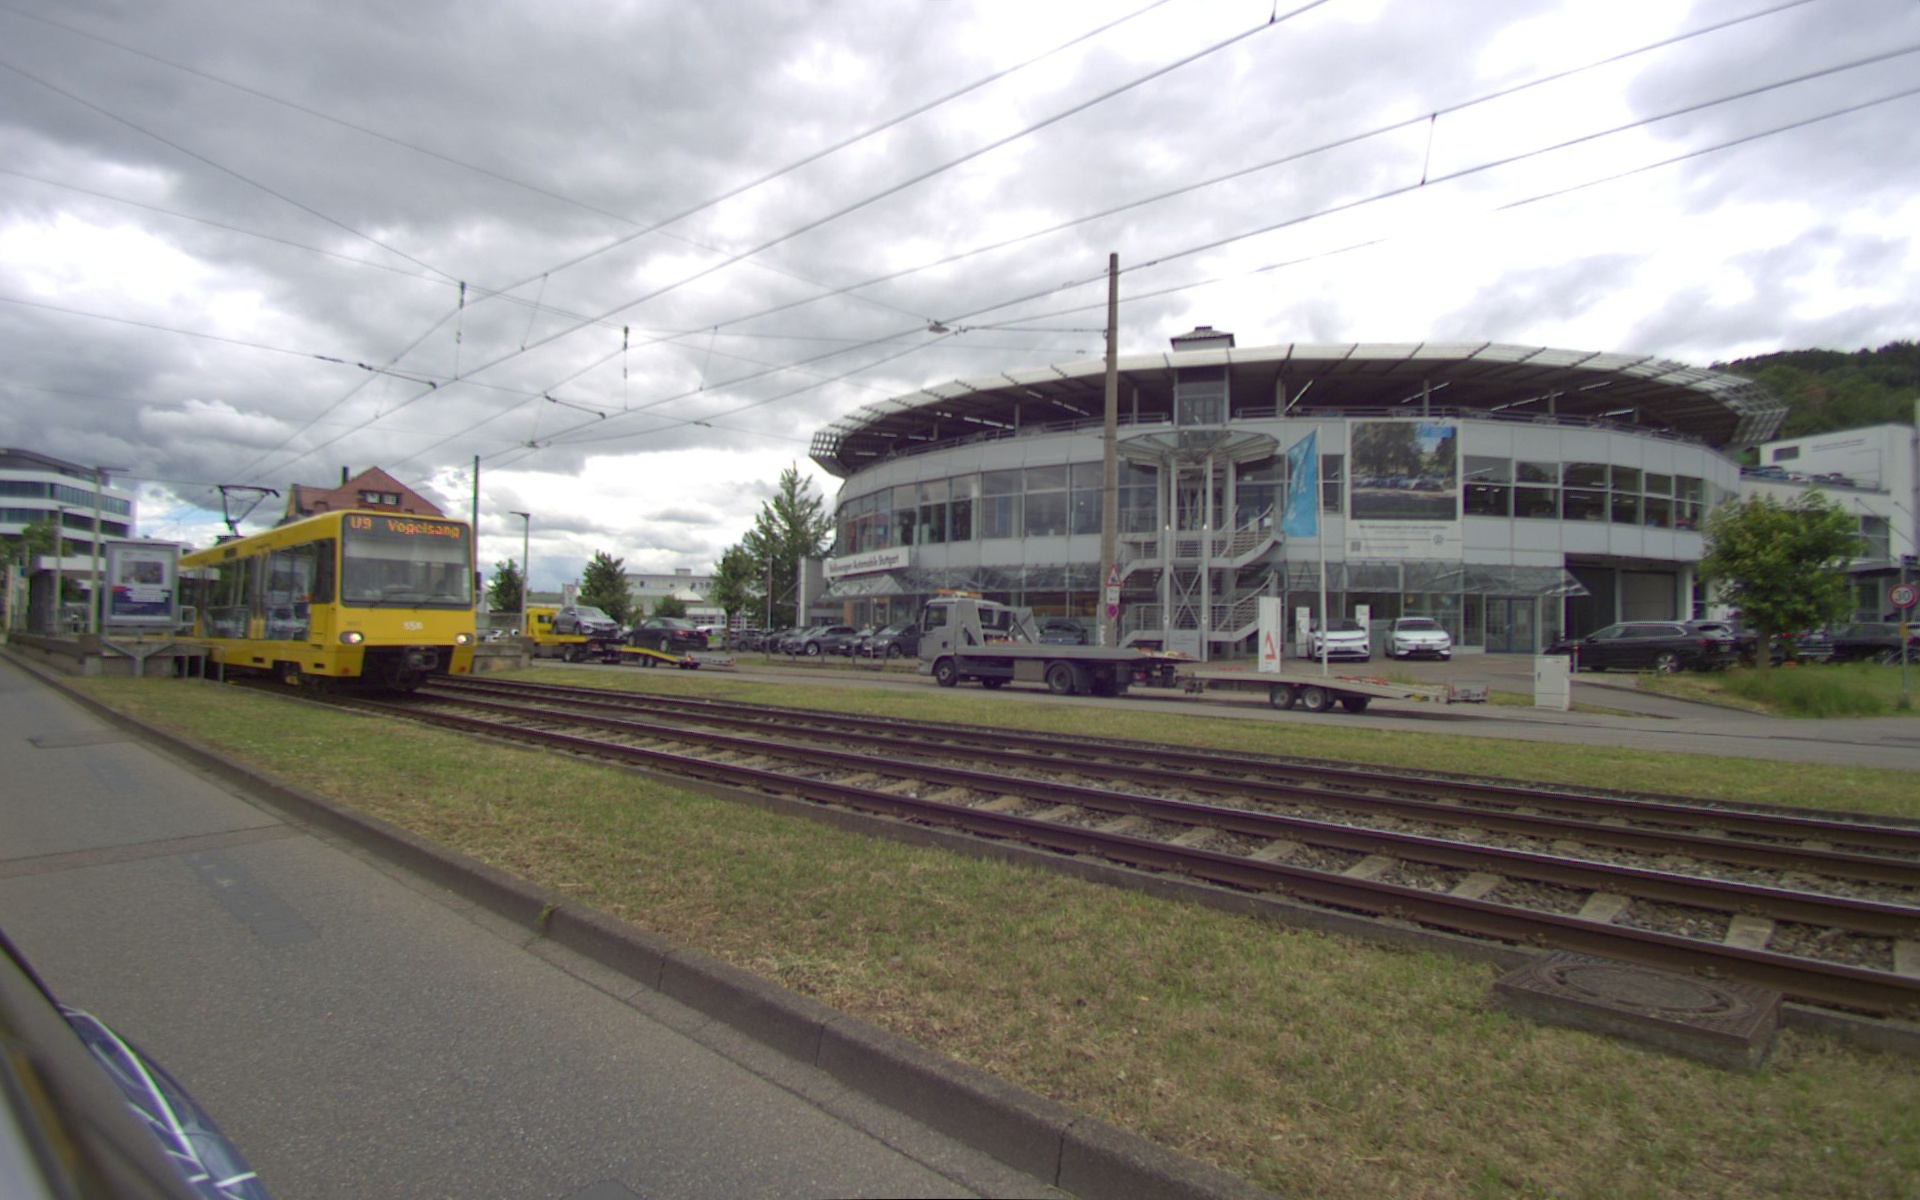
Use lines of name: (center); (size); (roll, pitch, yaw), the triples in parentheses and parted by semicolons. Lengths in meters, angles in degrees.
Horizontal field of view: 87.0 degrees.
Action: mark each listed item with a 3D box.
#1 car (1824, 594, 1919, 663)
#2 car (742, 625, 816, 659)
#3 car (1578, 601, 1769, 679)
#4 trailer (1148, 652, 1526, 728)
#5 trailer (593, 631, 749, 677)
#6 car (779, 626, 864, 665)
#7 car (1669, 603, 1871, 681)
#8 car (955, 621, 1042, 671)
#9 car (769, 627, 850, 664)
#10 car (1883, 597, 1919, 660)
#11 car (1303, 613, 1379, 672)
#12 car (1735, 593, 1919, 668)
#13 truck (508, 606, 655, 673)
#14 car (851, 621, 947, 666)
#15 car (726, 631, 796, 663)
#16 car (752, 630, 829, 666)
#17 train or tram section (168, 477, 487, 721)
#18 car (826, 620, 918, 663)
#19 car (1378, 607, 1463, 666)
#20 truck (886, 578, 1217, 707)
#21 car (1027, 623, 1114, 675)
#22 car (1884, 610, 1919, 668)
car: (29.221, 0.881, 30.783); (1.966, 2.029, 4.012); (1, -3, -18)
car: (-10.761, 2.496, 60.067); (3.930, 1.962, 2.006); (2, -3, -23)
car: (20.049, 1.145, 28.673); (1.966, 2.029, 4.012); (1, -3, -18)
trailer: (7.853, 1.860, 21.769); (7.009, 1.287, 3.014); (-2, -6, 45)
trailer: (-12.039, 2.166, 41.722); (2.943, 1.701, 7.573); (3, -3, -44)
car: (-7.210, 2.352, 52.691); (3.930, 1.962, 2.006); (2, -3, -24)
car: (22.768, 1.186, 28.654); (1.966, 2.029, 4.012); (1, -3, -18)
car: (1.681, 1.928, 42.447); (1.993, 1.962, 3.957); (-1, -3, 31)
car: (-8.205, 2.480, 55.173); (3.930, 1.962, 2.006); (2, -3, -23)
car: (31.872, 0.901, 31.588); (1.966, 2.029, 4.012); (1, -2, -18)
car: (13.751, 1.543, 36.752); (1.979, 2.029, 3.984); (0, -2, 12)
car: (25.595, 0.929, 29.771); (1.966, 2.029, 4.012); (1, -3, -18)
truck: (-17.949, 1.844, 47.619); (3.014, 2.881, 9.072); (3, -3, -44)
car: (-2.792, 1.991, 46.412); (3.933, 1.962, 2.005); (2, -3, -34)
car: (-12.385, 2.940, 62.941); (3.930, 1.962, 2.006); (2, -3, -23)
car: (-9.651, 2.713, 57.547); (3.930, 1.962, 2.006); (2, -3, -23)
train or tram section: (-15.884, 0.098, 24.143); (3.348, 4.038, 16.962); (1, -1, -43)
car: (-4.204, 2.009, 48.588); (3.933, 1.962, 2.005); (2, -3, -34)
car: (16.668, 1.328, 36.834); (1.979, 2.029, 3.984); (0, -2, 12)
truck: (2.167, 1.179, 27.417); (8.965, 2.944, 3.072); (-2, -5, 44)
car: (4.452, 1.924, 40.288); (1.993, 1.962, 3.957); (-1, -3, 31)
car: (34.327, 1.338, 34.254); (1.966, 2.029, 4.012); (1, -2, -18)
